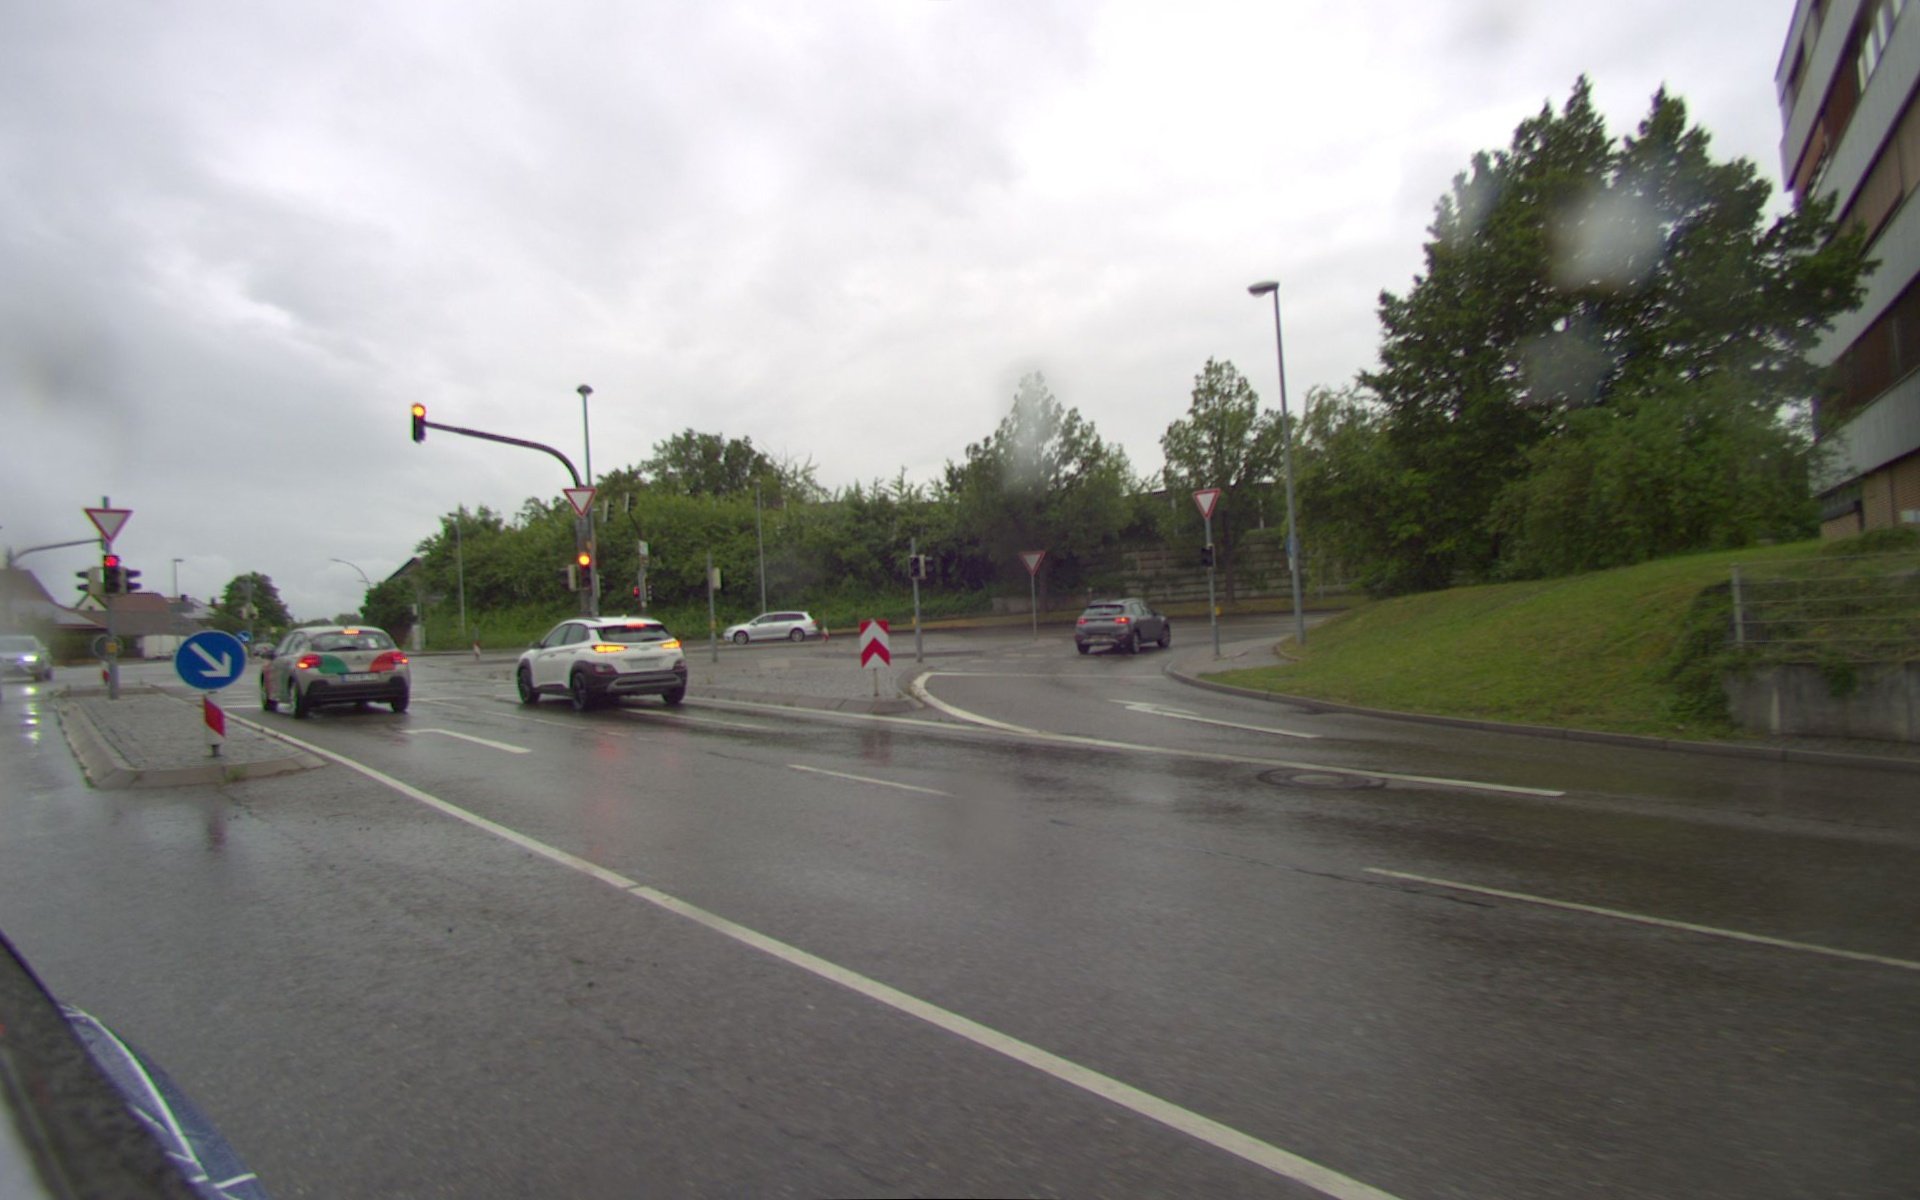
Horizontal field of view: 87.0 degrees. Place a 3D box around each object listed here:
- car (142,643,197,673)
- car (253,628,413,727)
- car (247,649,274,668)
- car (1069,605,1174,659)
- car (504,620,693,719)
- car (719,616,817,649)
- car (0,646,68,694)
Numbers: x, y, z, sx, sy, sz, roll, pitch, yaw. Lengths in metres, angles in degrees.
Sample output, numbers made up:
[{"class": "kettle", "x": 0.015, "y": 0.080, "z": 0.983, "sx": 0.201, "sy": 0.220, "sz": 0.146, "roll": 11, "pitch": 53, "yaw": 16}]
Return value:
[{"class": "car", "x": -68.853, "y": 5.044, "z": 88.227, "sx": 1.631, "sy": 2.368, "sz": 3.999, "roll": -3, "pitch": -1, "yaw": 0}, {"class": "car", "x": -11.067, "y": 1.279, "z": 17.743, "sx": 1.641, "sy": 1.506, "sz": 4.004, "roll": 0, "pitch": -2, "yaw": -43}, {"class": "car", "x": -63.763, "y": 5.342, "z": 92.291, "sx": 1.729, "sy": 1.568, "sz": 3.930, "roll": -2, "pitch": -1, "yaw": -32}, {"class": "car", "x": 4.760, "y": 0.883, "z": 29.399, "sx": 1.895, "sy": 1.467, "sz": 3.962, "roll": 0, "pitch": -1, "yaw": 28}, {"class": "car", "x": -6.522, "y": 1.167, "z": 18.035, "sx": 1.700, "sy": 1.506, "sz": 4.004, "roll": -2, "pitch": -1, "yaw": -43}, {"class": "car", "x": -9.051, "y": 1.524, "z": 47.972, "sx": 4.460, "sy": 1.373, "sz": 1.766, "roll": -2, "pitch": -1, "yaw": -8}, {"class": "car", "x": -31.708, "y": 2.366, "z": 33.908, "sx": 1.867, "sy": 1.494, "sz": 4.012, "roll": -2, "pitch": -2, "yaw": -29}]
